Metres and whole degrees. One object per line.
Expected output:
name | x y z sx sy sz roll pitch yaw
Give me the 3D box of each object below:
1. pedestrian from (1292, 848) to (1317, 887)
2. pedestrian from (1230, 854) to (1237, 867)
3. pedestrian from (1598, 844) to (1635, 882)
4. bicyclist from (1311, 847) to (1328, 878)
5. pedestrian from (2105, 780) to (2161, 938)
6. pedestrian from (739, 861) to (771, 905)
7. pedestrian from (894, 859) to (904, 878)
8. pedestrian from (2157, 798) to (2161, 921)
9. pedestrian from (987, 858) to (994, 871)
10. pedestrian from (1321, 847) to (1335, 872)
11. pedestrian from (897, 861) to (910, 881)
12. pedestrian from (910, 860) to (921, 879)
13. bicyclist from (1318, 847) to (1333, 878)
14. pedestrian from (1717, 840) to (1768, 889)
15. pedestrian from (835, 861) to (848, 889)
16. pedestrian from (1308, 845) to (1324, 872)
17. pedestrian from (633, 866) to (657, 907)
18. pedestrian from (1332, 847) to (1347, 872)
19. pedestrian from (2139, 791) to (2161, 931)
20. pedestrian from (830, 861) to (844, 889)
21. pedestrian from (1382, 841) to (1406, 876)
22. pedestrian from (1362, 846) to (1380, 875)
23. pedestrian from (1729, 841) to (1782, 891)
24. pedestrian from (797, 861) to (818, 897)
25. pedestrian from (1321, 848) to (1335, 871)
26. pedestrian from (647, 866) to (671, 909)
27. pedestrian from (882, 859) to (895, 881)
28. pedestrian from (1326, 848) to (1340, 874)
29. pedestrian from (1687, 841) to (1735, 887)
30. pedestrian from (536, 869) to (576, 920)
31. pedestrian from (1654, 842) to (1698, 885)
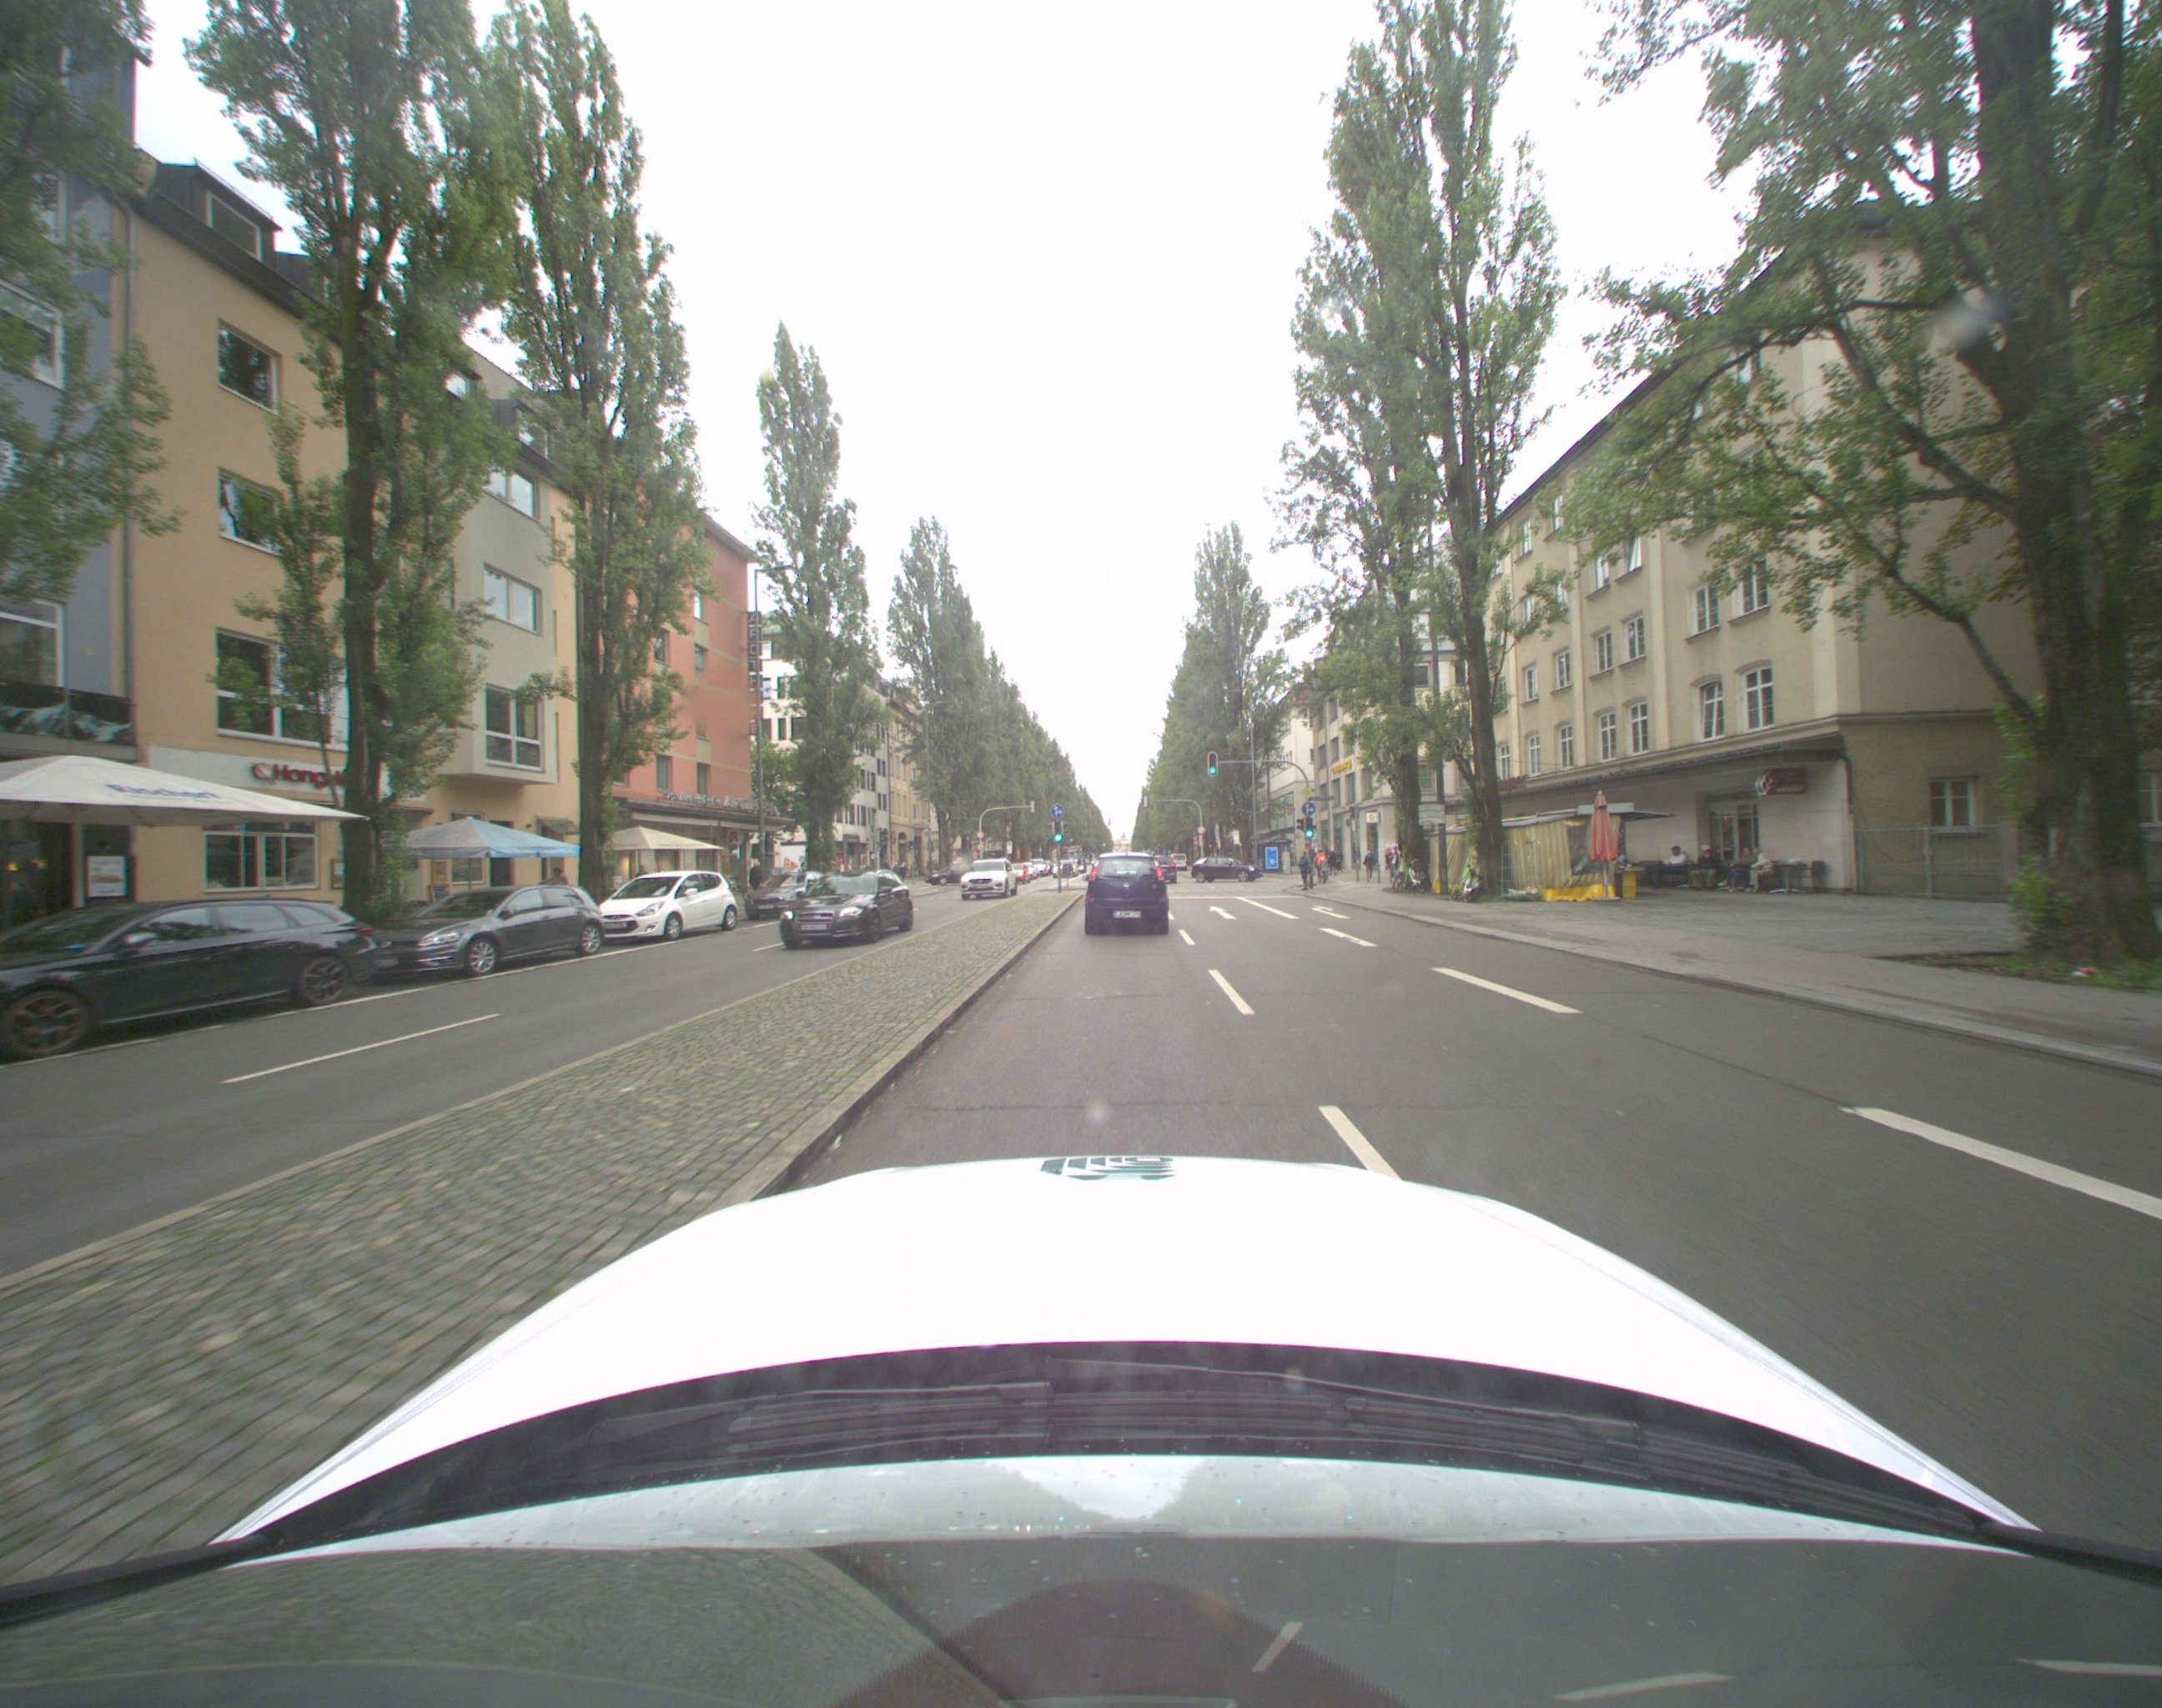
pedestrian | 9.481 0.575 34.632 0.763 1.610 0.864 -2 0 -1
pedestrian | 21.258 0.875 113.277 0.822 1.841 1.101 -2 -1 6
pedestrian | 18.223 0.299 27.737 0.772 1.264 0.700 -2 -1 3
bicyclist | 12.468 0.438 42.574 0.619 1.588 0.753 -2 -1 2
pedestrian | 13.780 0.053 10.318 0.653 1.971 0.723 -2 0 5
pedestrian | -13.431 1.186 33.543 0.729 1.796 0.997 -1 -1 21
pedestrian | -17.787 1.417 79.439 0.696 1.787 0.821 -2 0 4
pedestrian | 16.239 0.079 11.604 0.739 1.814 0.757 -1 0 6
pedestrian | -12.236 1.390 110.645 0.731 1.673 0.953 -2 0 3
pedestrian | 17.248 0.394 56.920 0.746 1.758 0.860 -2 -2 4
pedestrian | -14.174 1.330 65.119 0.747 1.567 0.990 -2 0 2
pedestrian | -15.056 1.402 74.181 0.775 1.618 0.935 -2 0 2
bicyclist | 12.423 0.427 41.421 0.619 1.588 0.392 -2 -1 2
pedestrian | 17.798 0.284 21.935 0.772 1.264 0.700 -2 -1 3
pedestrian | -14.908 1.316 50.759 0.584 1.691 0.514 -2 0 3
pedestrian | 16.096 0.289 55.881 0.815 1.818 0.891 -1 -1 1
pedestrian | -17.822 1.321 33.281 0.552 1.638 0.692 -2 0 2
pedestrian | 18.040 0.390 56.892 0.746 1.758 0.860 -2 -2 4
pedestrian | 14.553 0.085 10.475 0.653 1.851 0.907 -2 0 5
pedestrian | -15.027 1.279 50.172 0.627 1.689 0.519 0 -1 4
pedestrian | 15.776 0.230 41.088 0.670 1.703 0.850 1 -3 -44
pedestrian | 16.952 0.373 47.683 0.746 1.636 0.735 -3 -2 5
pedestrian | 17.562 0.315 21.223 0.772 1.264 0.700 -2 -1 3
pedestrian | -13.759 1.229 40.981 0.721 1.771 0.779 -2 0 4
pedestrian | 18.024 0.411 59.515 0.746 1.677 0.964 -2 0 4
pedestrian | -17.116 1.361 33.026 0.552 1.717 0.692 -2 0 2
pedestrian | -15.879 1.325 67.096 0.796 1.787 0.912 0 0 3
pedestrian | 16.883 0.463 54.605 0.705 1.758 0.753 -2 0 4
pedestrian | 17.758 0.287 22.975 0.772 1.264 0.700 -2 -1 3
pedestrian | -17.954 1.380 27.881 0.777 1.668 0.803 -2 0 2
pedestrian | 17.997 0.275 24.643 0.772 1.264 0.700 -2 -1 3
